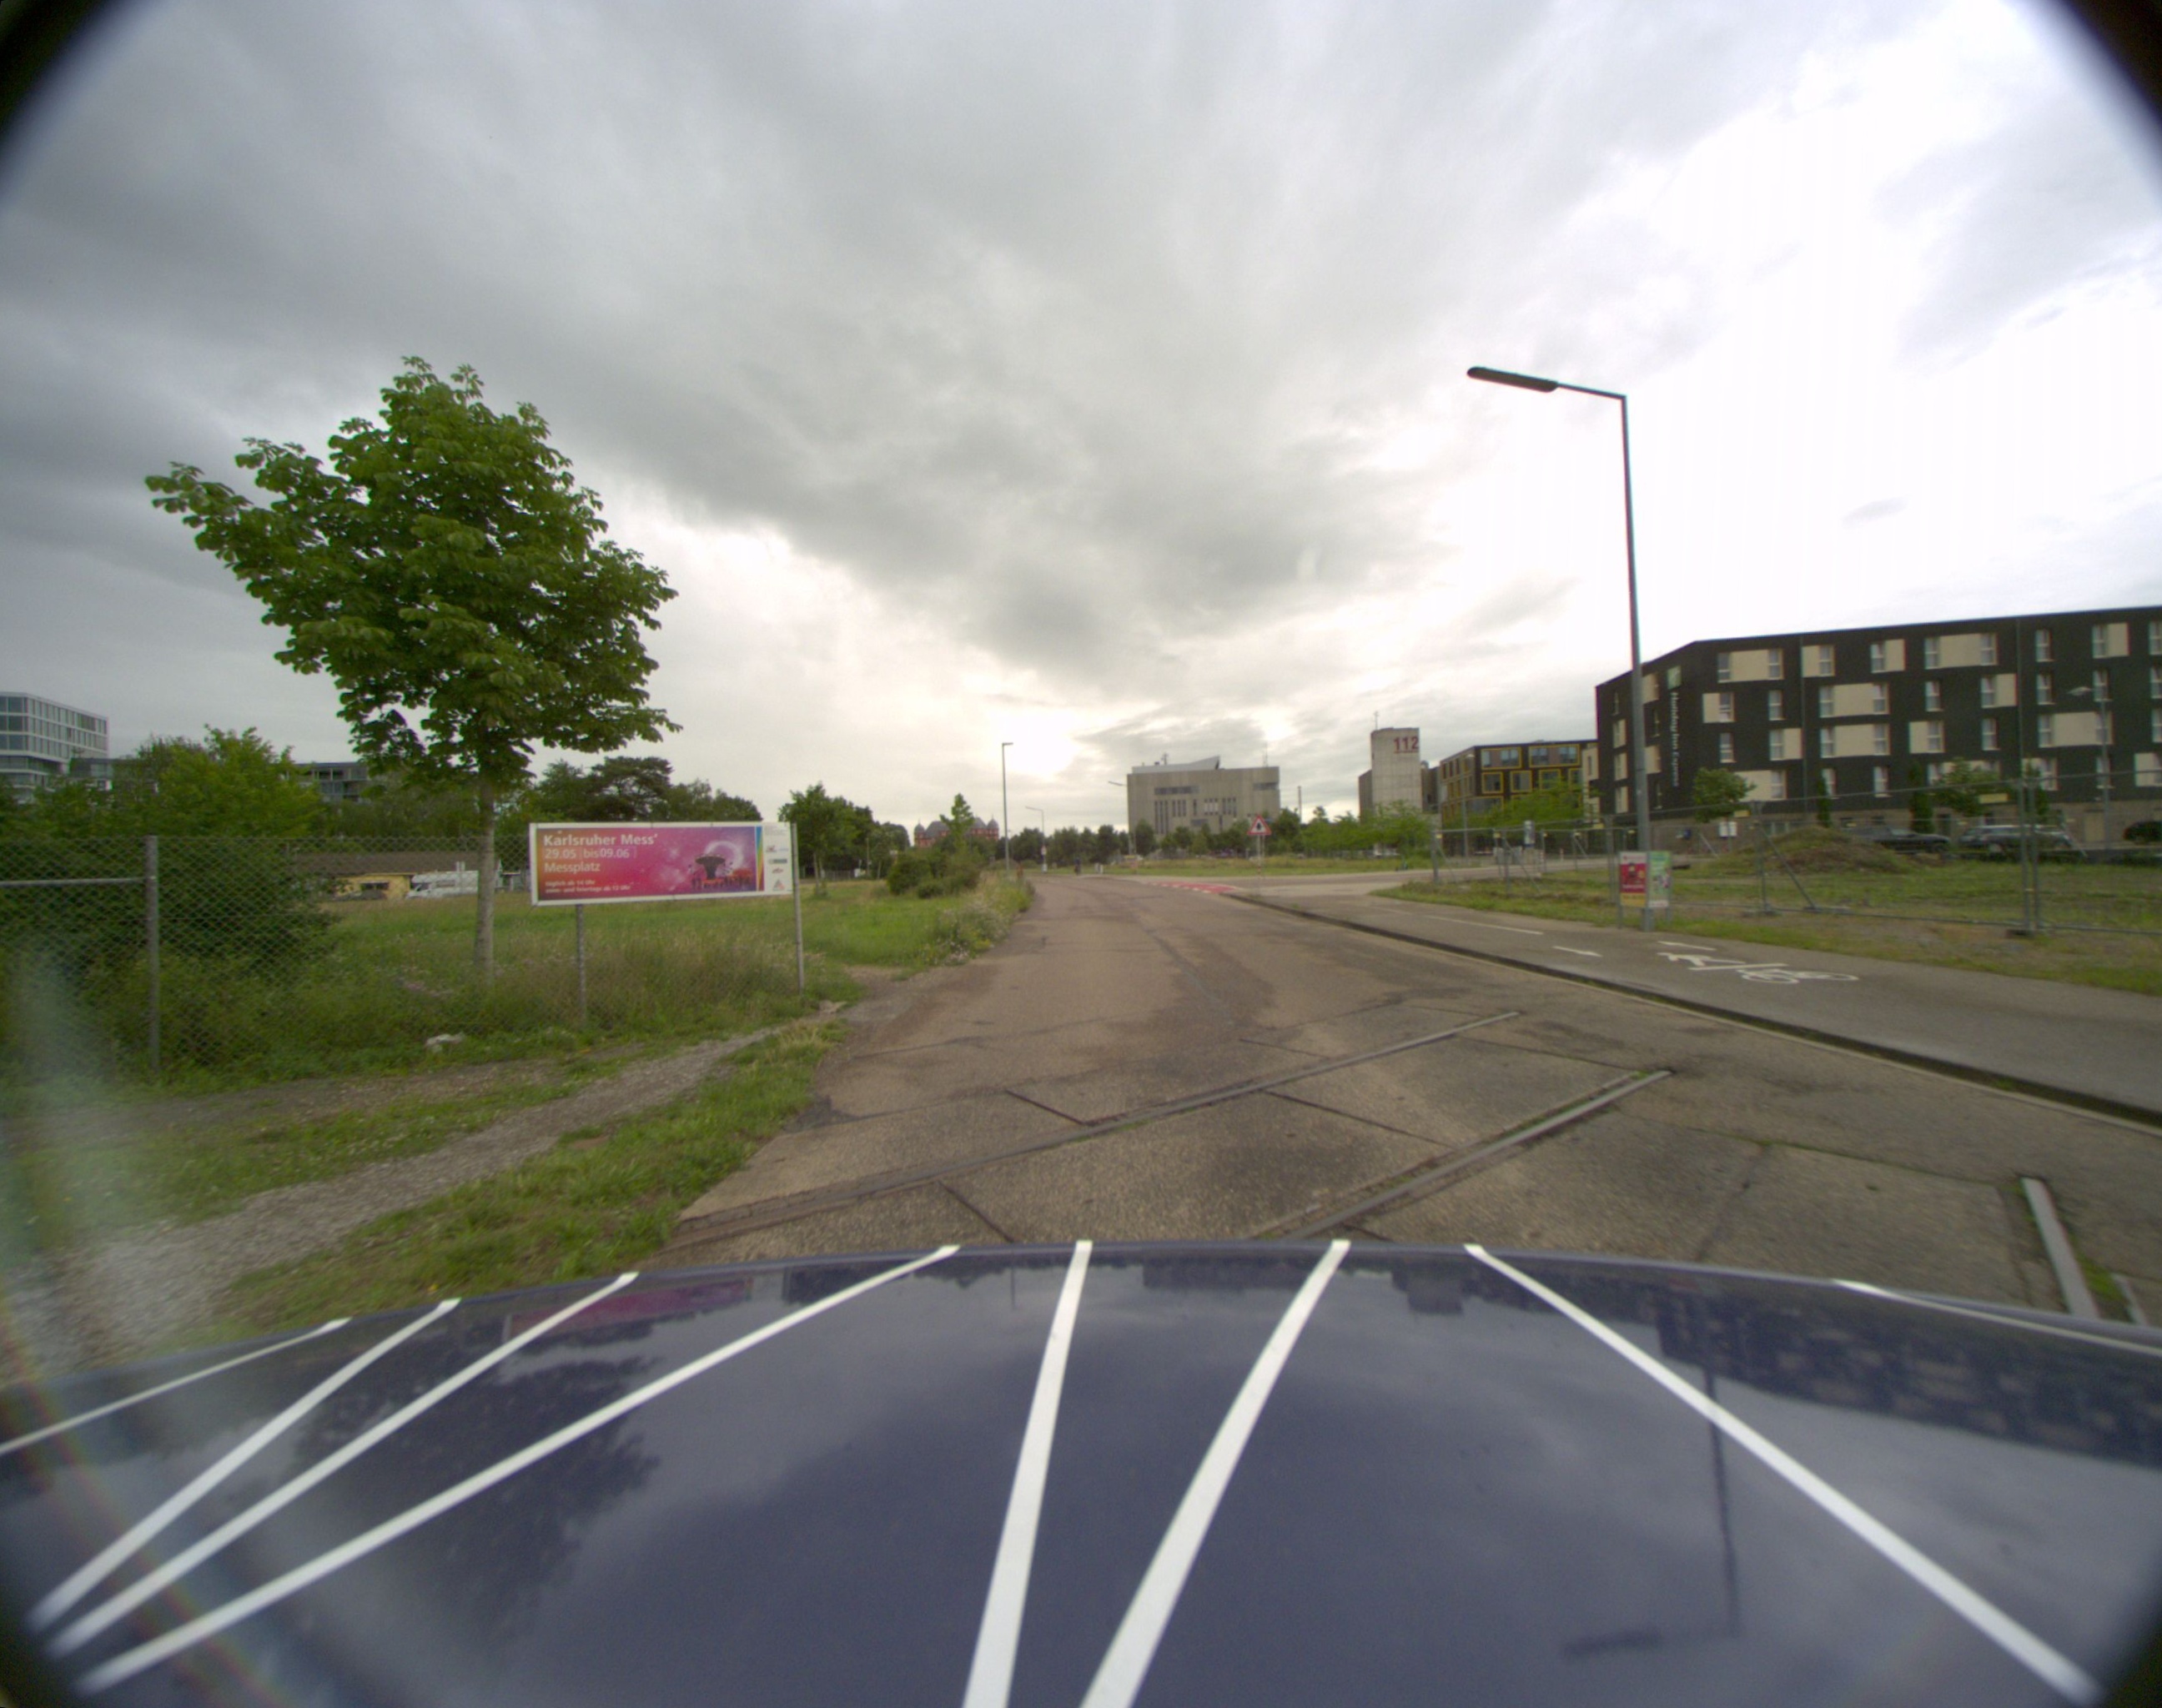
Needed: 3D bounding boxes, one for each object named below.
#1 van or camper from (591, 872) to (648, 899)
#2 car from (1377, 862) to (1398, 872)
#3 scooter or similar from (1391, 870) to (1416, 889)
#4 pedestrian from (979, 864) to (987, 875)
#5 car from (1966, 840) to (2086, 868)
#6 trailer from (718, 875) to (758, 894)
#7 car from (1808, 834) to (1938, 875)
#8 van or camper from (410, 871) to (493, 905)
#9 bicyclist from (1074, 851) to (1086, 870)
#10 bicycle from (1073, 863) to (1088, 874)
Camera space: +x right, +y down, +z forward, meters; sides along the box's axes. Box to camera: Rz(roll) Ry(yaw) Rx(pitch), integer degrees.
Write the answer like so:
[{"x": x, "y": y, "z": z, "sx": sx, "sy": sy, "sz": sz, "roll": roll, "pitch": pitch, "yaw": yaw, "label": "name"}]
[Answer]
[{"x": -50.278, "y": 3.432, "z": 82.987, "sx": 5.188, "sy": 2.815, "sz": 2.411, "roll": -1, "pitch": -2, "yaw": -30, "label": "van or camper"}, {"x": 48.120, "y": 2.100, "z": 119.393, "sx": 1.998, "sy": 1.514, "sz": 4.003, "roll": 0, "pitch": -2, "yaw": 6, "label": "car"}, {"x": 21.370, "y": 1.679, "z": 50.352, "sx": 1.468, "sy": 1.161, "sz": 0.571, "roll": -3, "pitch": 0, "yaw": -15, "label": "scooter or similar"}, {"x": -15.807, "y": 2.471, "z": 123.003, "sx": 0.848, "sy": 1.772, "sz": 1.075, "roll": -1, "pitch": -1, "yaw": -31, "label": "pedestrian"}, {"x": 55.788, "y": 0.035, "z": 45.001, "sx": 1.998, "sy": 1.508, "sz": 4.156, "roll": -2, "pitch": -2, "yaw": 3, "label": "car"}, {"x": -40.313, "y": 3.589, "z": 89.329, "sx": 4.006, "sy": 2.001, "sz": 1.640, "roll": -1, "pitch": -2, "yaw": -31, "label": "trailer"}, {"x": 39.146, "y": 0.061, "z": 37.685, "sx": 3.993, "sy": 1.811, "sz": 2.002, "roll": -2, "pitch": -1, "yaw": 11, "label": "car"}, {"x": -62.468, "y": 3.353, "z": 75.549, "sx": 6.084, "sy": 3.092, "sz": 2.266, "roll": -1, "pitch": -2, "yaw": -32, "label": "van or camper"}, {"x": -0.110, "y": 0.675, "z": 78.839, "sx": 0.865, "sy": 2.001, "sz": 1.176, "roll": -1, "pitch": -1, "yaw": -17, "label": "bicyclist"}, {"x": -0.060, "y": 1.478, "z": 78.778, "sx": 0.887, "sy": 1.046, "sz": 2.466, "roll": -1, "pitch": -2, "yaw": -18, "label": "bicycle"}]
